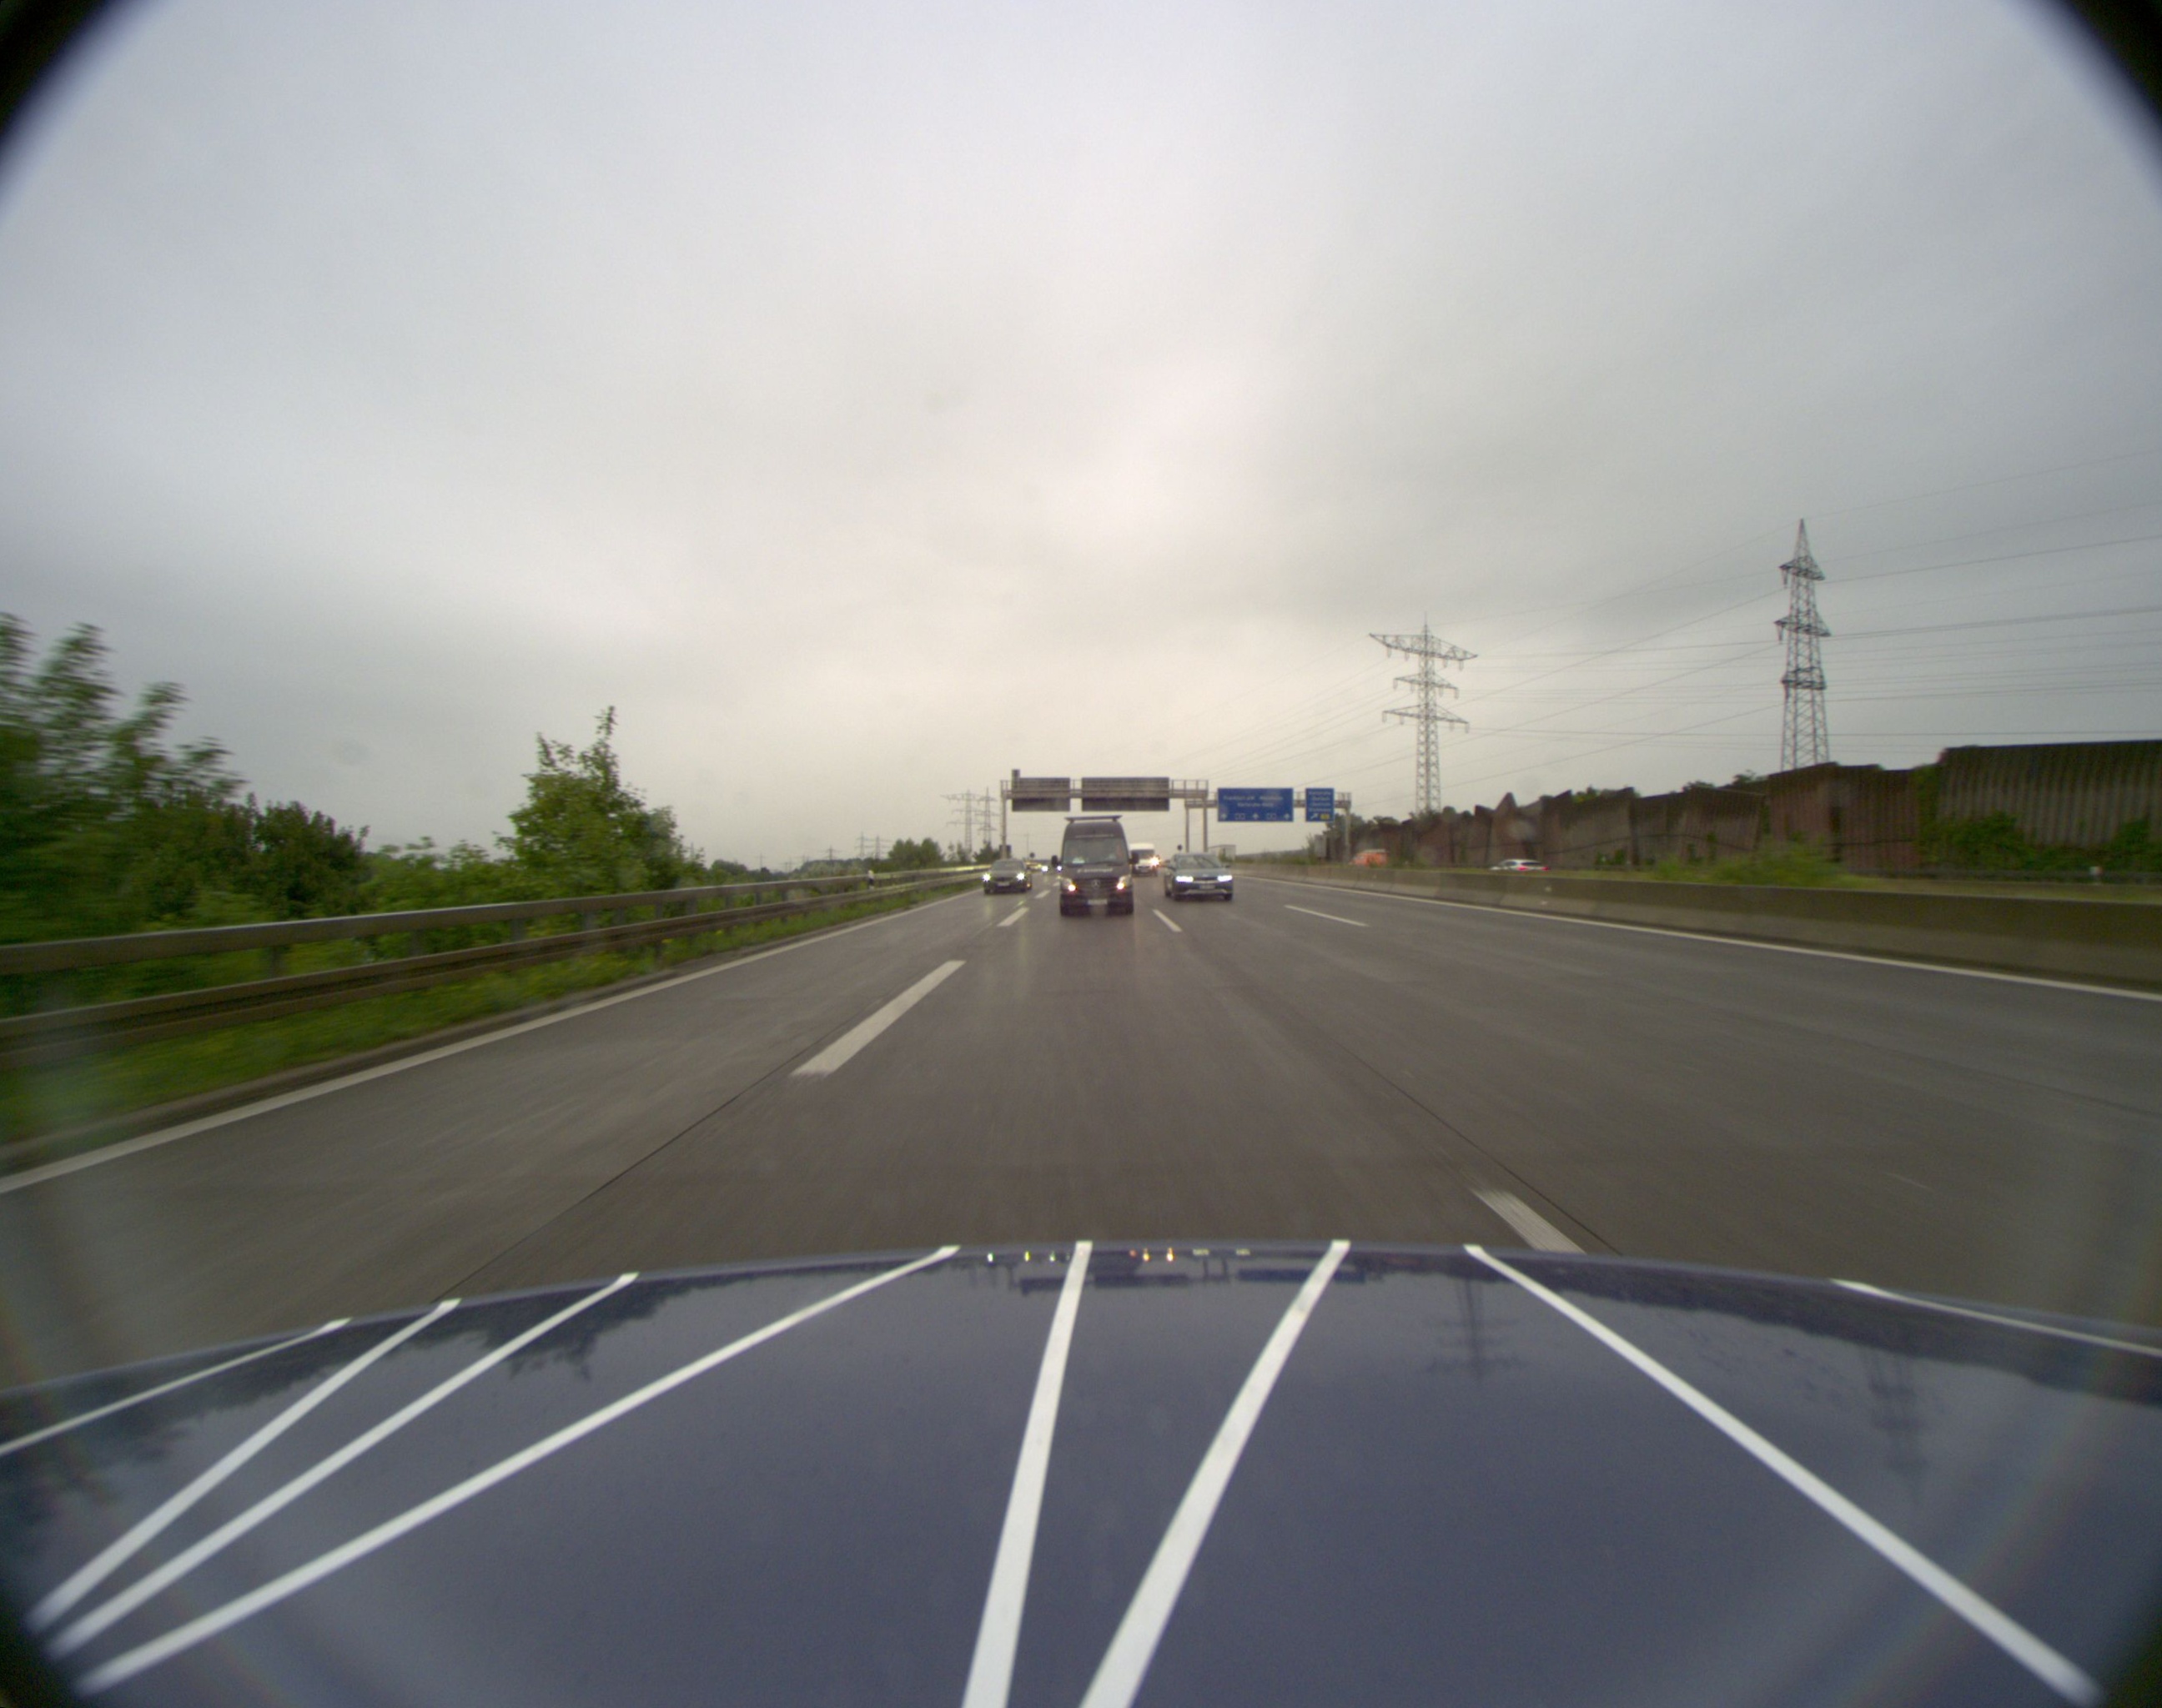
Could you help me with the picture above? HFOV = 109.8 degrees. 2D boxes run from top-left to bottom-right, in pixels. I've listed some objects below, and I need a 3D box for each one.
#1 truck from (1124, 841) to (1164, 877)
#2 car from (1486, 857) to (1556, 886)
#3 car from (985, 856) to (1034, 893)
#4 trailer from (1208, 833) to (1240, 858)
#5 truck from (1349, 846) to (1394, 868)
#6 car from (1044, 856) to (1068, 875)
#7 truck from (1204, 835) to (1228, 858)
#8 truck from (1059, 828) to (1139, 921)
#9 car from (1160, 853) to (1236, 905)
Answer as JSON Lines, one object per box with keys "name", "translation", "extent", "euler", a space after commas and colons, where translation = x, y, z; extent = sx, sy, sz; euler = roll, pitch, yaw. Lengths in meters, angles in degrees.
{"name": "truck", "translation": [4.653, 0.381, 57.277], "extent": [2.243, 2.464, 6.582], "euler": [-2, 0, -1]}
{"name": "car", "translation": [27.907, 1.065, 48.386], "extent": [1.998, 1.729, 4.398], "euler": [-1, 0, 2]}
{"name": "car", "translation": [-3.241, 0.932, 35.153], "extent": [1.862, 1.531, 4.203], "euler": [-2, -1, 0]}
{"name": "trailer", "translation": [25.345, -1.410, 135.364], "extent": [3.064, 4.161, 13.570], "euler": [-2, 0, 0]}
{"name": "truck", "translation": [24.288, 0.255, 63.762], "extent": [1.998, 1.729, 5.016], "euler": [-1, 0, 2]}
{"name": "car", "translation": [-2.252, 1.059, 69.727], "extent": [1.998, 1.706, 4.000], "euler": [1, 0, 0]}
{"name": "truck", "translation": [25.374, -1.394, 143.119], "extent": [3.064, 4.161, 7.888], "euler": [-2, 0, 0]}
{"name": "truck", "translation": [0.396, 0.503, 22.148], "extent": [1.999, 2.324, 6.110], "euler": [-1, 0, -1]}
{"name": "car", "translation": [3.970, 0.792, 26.620], "extent": [1.843, 1.585, 5.156], "euler": [-1, 0, 0]}
